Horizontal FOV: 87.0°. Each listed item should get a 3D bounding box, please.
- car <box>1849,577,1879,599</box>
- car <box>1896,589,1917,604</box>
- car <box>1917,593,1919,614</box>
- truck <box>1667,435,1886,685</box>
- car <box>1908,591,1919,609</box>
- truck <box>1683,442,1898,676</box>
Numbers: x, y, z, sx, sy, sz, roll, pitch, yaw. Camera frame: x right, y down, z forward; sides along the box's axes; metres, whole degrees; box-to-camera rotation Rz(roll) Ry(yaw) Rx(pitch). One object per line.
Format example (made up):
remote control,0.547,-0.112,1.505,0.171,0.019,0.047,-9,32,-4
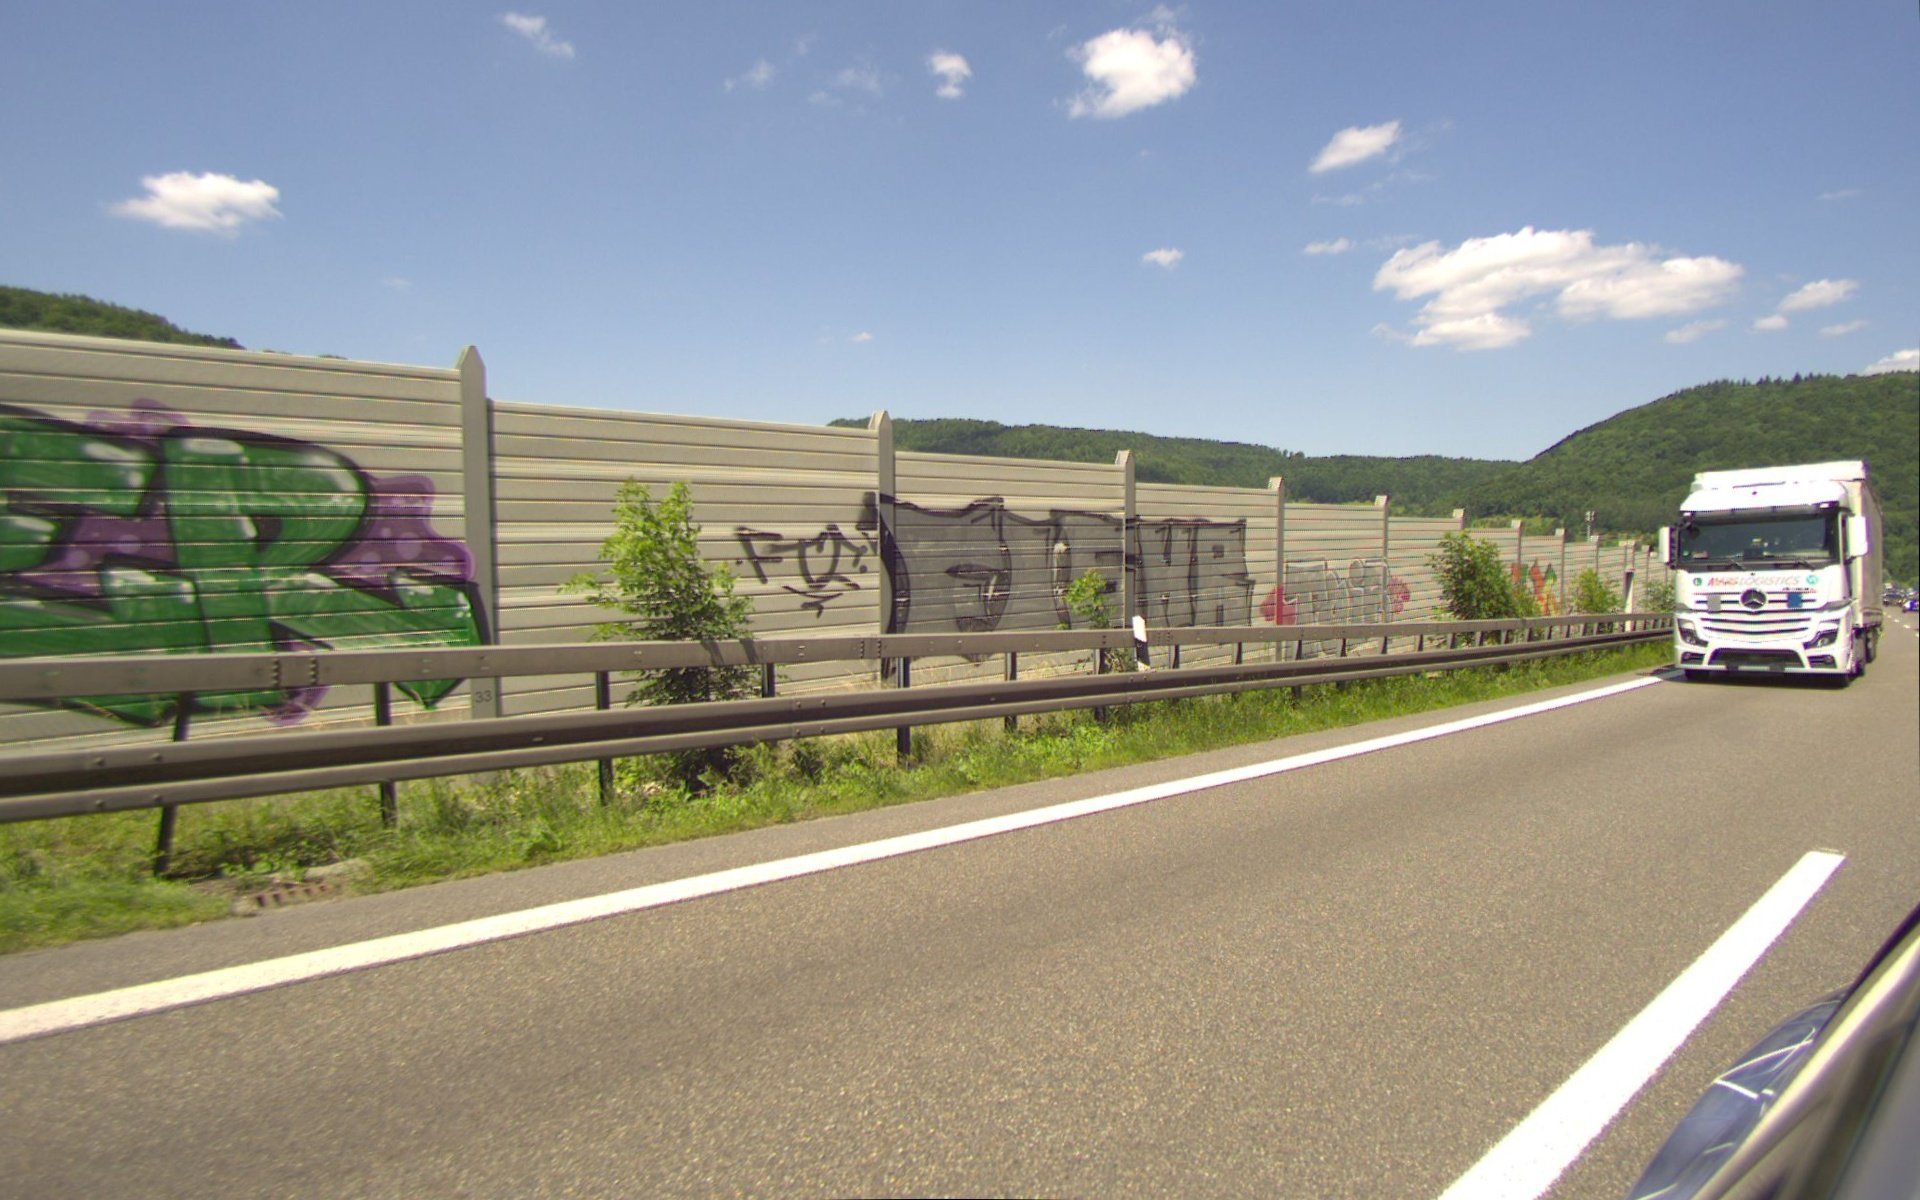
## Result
car,85.248,-1.149,95.441,1.994,1.927,3.938,5,3,43
car,132.370,-0.524,141.483,1.994,2.038,3.936,3,2,44
car,94.988,0.361,98.896,1.994,2.038,3.937,3,2,44
truck,16.250,-0.686,19.944,2.758,4.090,6.714,0,0,44
car,110.577,0.018,116.529,1.995,2.038,3.935,3,2,45
truck,19.588,-0.764,23.454,2.855,4.200,11.854,0,0,44
